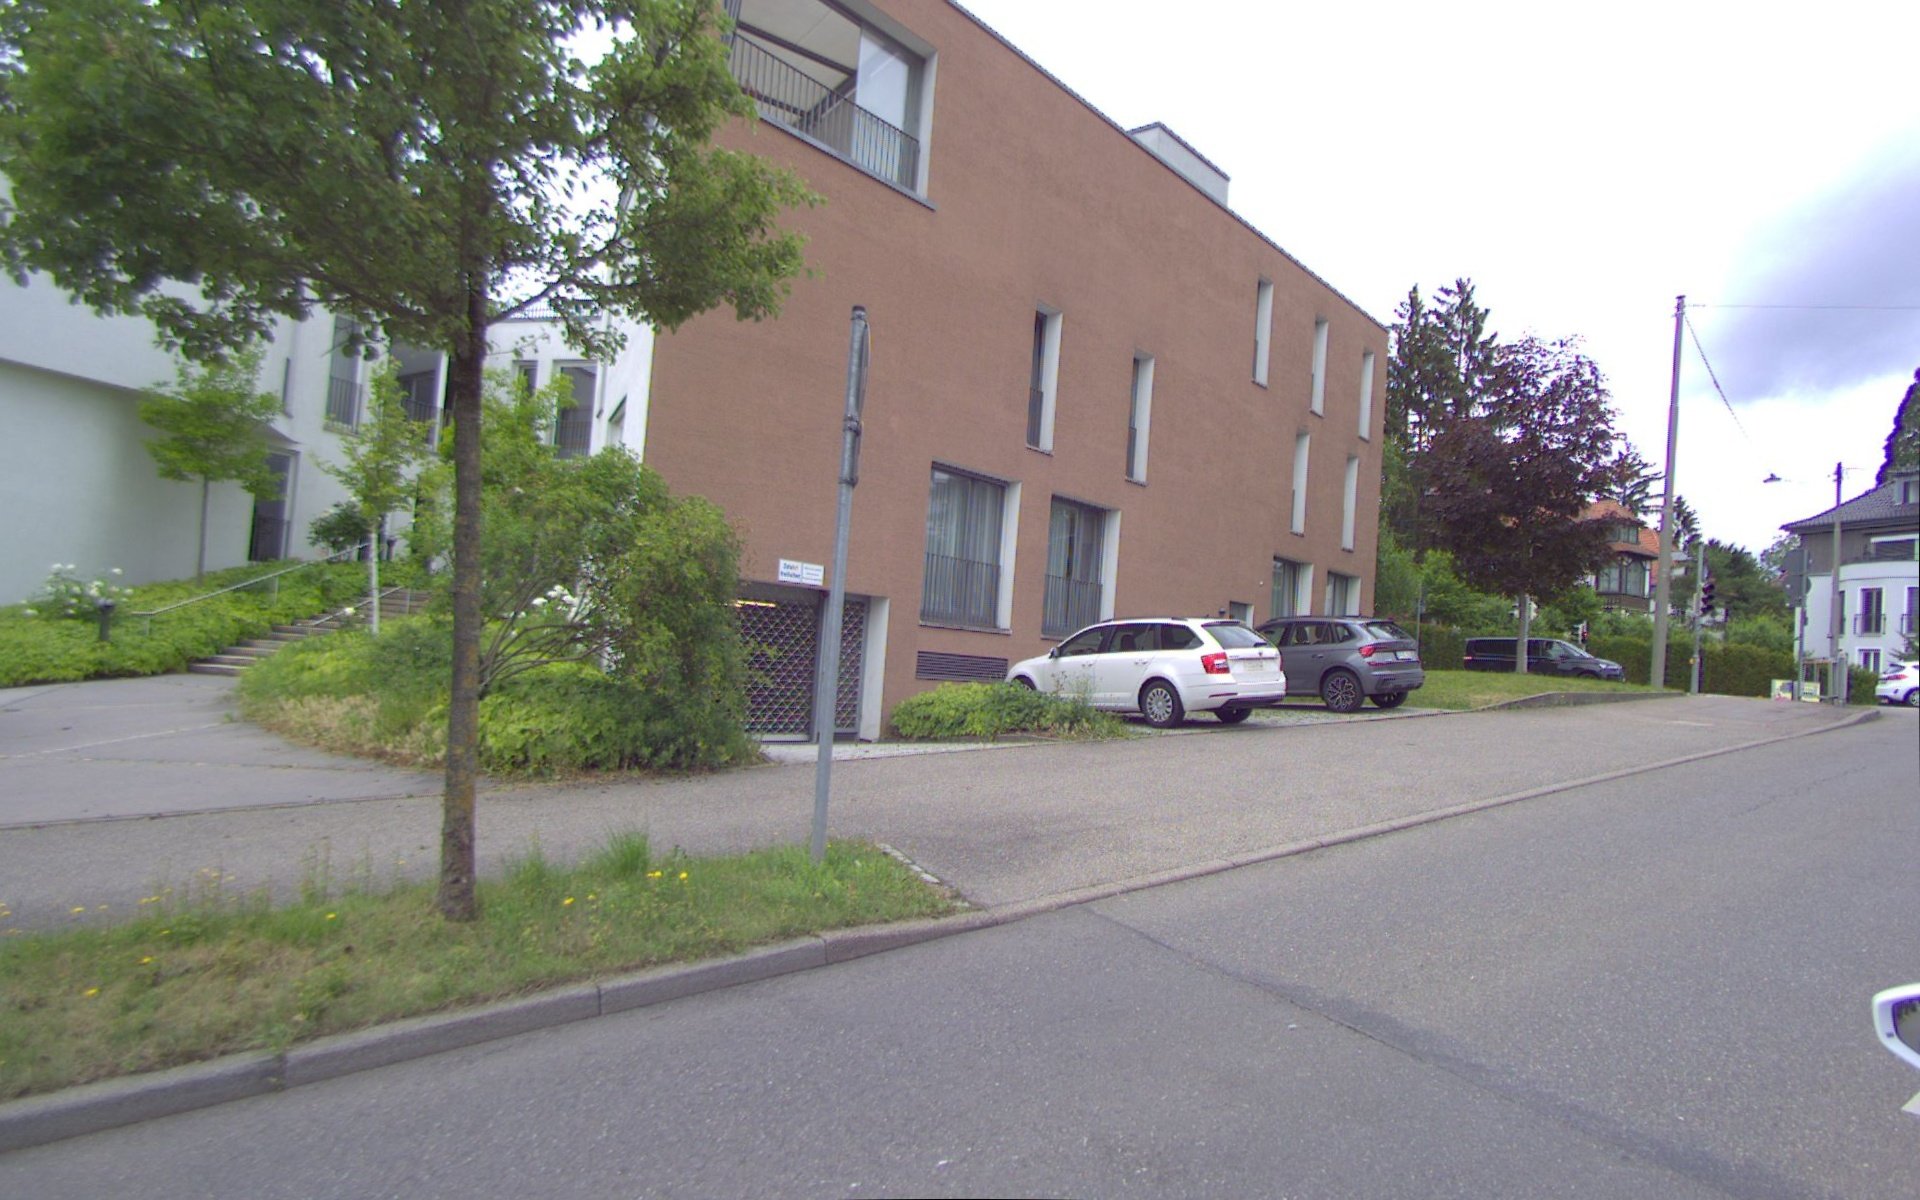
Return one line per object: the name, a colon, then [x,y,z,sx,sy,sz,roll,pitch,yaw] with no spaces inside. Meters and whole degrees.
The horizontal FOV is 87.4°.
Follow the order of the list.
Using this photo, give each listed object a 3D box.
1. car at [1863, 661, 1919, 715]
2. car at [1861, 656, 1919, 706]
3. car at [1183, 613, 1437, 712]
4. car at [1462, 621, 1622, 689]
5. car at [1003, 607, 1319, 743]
car: [37.094,3.352,37.768,4.265,1.882,2.001,1,0,8]
car: [29.934,2.506,30.148,3.928,1.401,1.934,1,-1,30]
car: [5.869,1.048,17.177,1.718,1.483,3.729,1,-3,-40]
car: [20.802,1.884,35.981,4.703,2.041,1.993,3,1,37]
car: [2.734,0.997,14.468,1.995,1.644,4.230,3,-3,-37]
